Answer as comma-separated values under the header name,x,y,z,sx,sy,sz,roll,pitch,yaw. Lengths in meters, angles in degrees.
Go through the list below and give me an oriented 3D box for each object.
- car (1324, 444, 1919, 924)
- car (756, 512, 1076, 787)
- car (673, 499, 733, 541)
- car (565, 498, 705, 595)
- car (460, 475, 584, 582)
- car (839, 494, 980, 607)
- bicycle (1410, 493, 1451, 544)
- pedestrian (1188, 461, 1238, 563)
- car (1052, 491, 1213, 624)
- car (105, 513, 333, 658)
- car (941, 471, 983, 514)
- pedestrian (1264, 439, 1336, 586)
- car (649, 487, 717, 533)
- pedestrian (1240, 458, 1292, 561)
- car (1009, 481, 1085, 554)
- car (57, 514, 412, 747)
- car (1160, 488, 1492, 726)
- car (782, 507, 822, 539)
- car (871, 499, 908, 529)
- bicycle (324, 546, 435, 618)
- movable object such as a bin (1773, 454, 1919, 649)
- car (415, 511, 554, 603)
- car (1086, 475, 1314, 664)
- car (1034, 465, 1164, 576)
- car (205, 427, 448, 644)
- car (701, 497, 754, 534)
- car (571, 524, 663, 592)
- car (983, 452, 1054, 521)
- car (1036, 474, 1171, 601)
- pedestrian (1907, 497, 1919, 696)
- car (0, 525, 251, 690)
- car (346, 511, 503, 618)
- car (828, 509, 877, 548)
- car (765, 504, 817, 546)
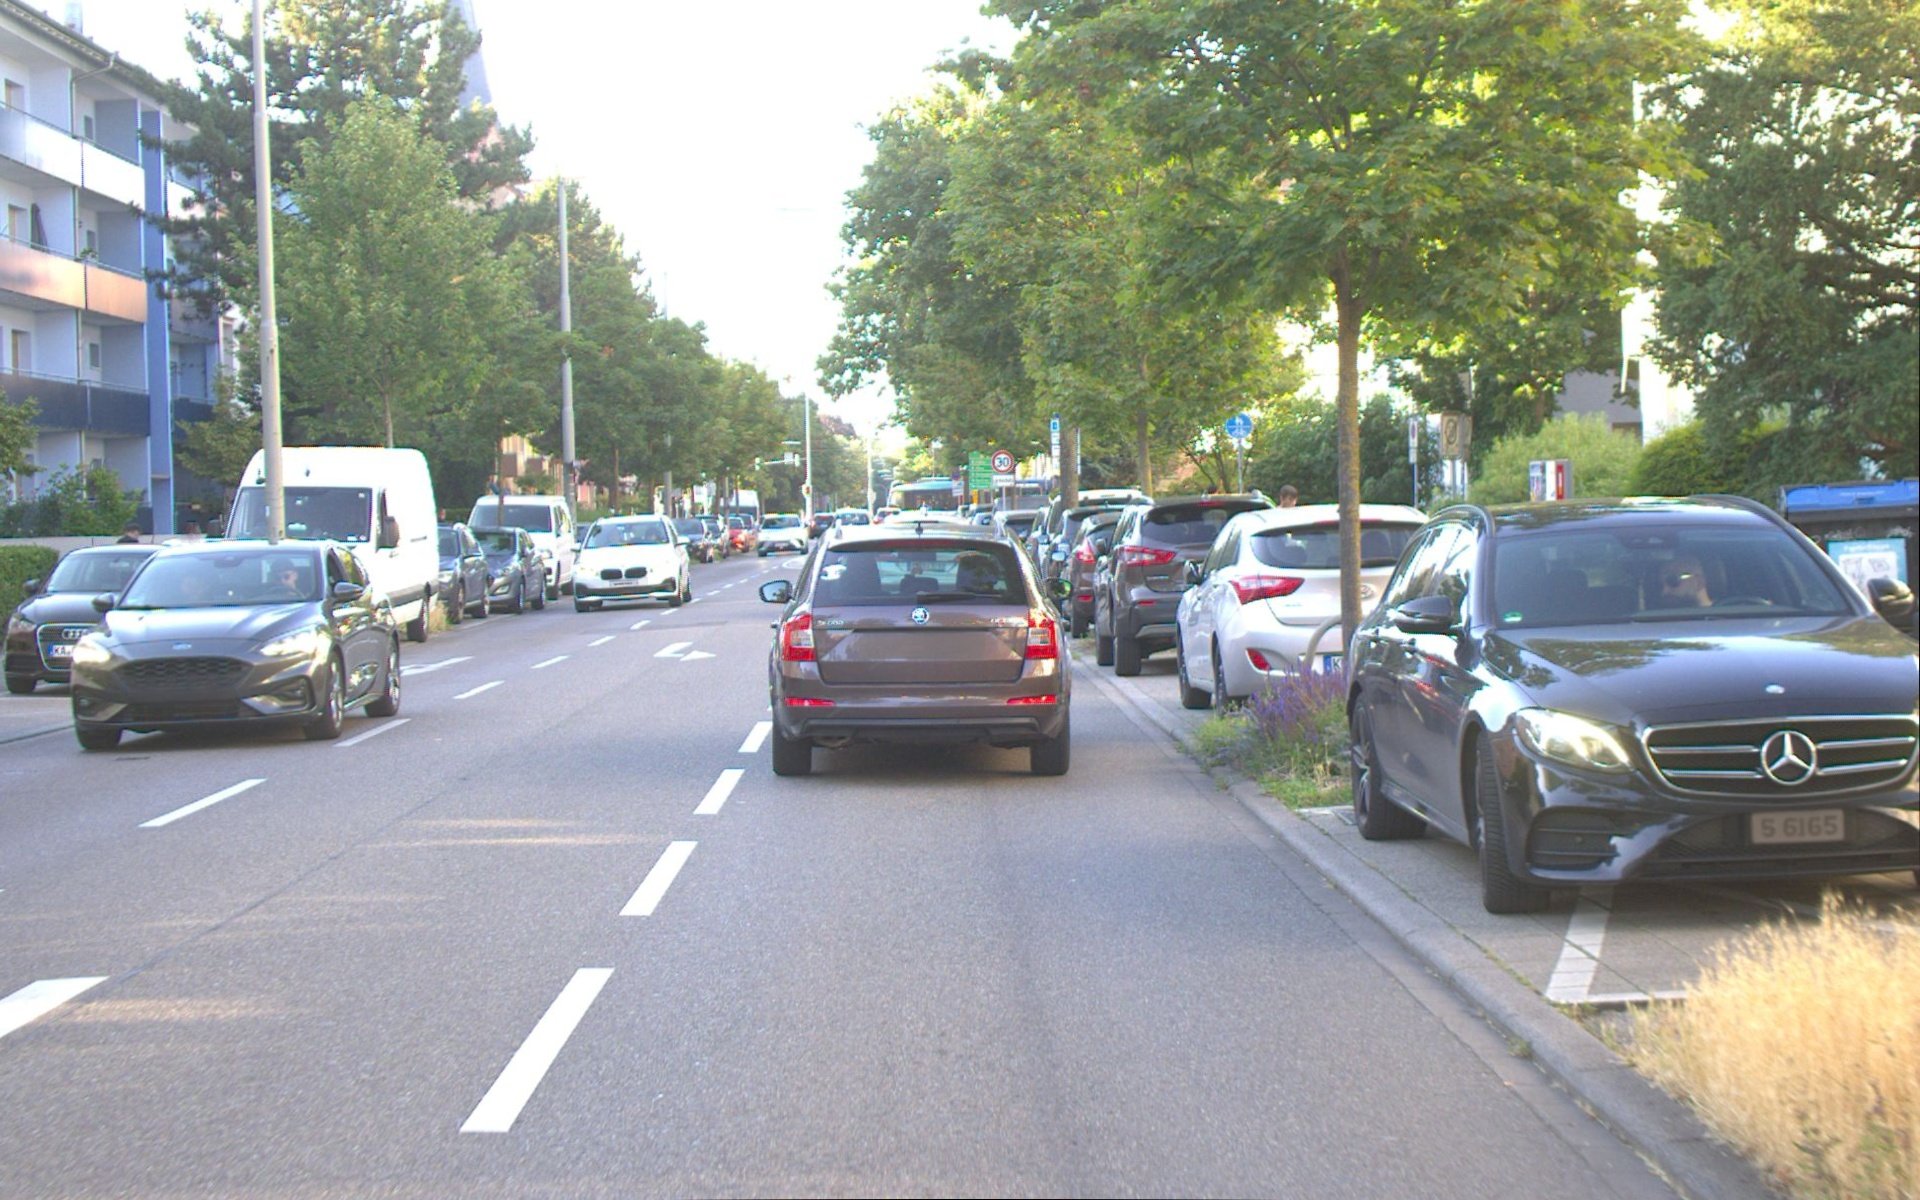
name,x,y,z,sx,sy,sz,roll,pitch,yaw
car,2.702,0.206,14.229,1.874,1.575,4.821,-3,2,1
car,-0.210,0.219,20.851,1.754,1.487,4.000,0,2,1
car,-9.263,-2.894,124.006,1.781,1.475,3.971,0,2,1
car,-5.501,-0.940,58.664,1.879,1.537,4.267,-2,2,1
car,-8.622,-1.442,68.061,1.868,2.024,5.302,-1,2,-1
car,-0.741,-0.710,49.447,1.892,1.501,3.790,2,1,-1
bicycle,8.875,-1.540,64.884,0.475,0.941,1.680,-2,2,-1
pedestrian,4.713,-1.648,64.071,0.749,1.854,1.068,-2,2,-1
car,2.052,-0.553,41.748,1.613,1.461,3.959,-3,2,-1
car,-8.259,-0.204,38.626,1.706,1.487,4.059,1,2,-1
car,0.064,-4.541,145.678,1.754,1.799,4.000,0,2,0
pedestrian,3.999,-1.030,40.464,0.788,1.694,0.807,-1,1,4
car,-8.947,-2.929,111.481,1.781,1.475,4.033,0,2,1
pedestrian,5.666,-1.677,63.597,0.799,1.854,0.950,-2,2,10
car,2.036,-1.956,81.219,1.754,1.680,4.252,0,2,1
car,-5.212,0.151,25.226,1.700,1.465,4.294,-3,2,-1
car,2.493,-0.025,24.406,1.718,1.489,4.395,-2,2,-2
car,-8.930,-4.349,193.917,1.993,1.744,4.001,-2,2,-6
car,-3.807,-4.640,185.160,1.644,1.593,3.651,-2,2,-6
bicycle,-8.257,-0.257,48.899,1.472,1.011,0.439,0,2,7
movable object such as a bin,7.349,-0.408,27.962,1.267,1.487,1.139,-4,2,9
car,-8.220,-0.768,59.700,1.692,1.478,4.143,-1,2,2
car,2.171,-0.334,32.065,1.718,1.595,4.097,-2,2,-1
car,2.317,-1.371,58.393,1.800,1.802,4.425,0,2,-3
car,-8.148,-0.892,44.912,1.993,2.607,7.106,0,2,-1
car,-9.461,-3.451,140.168,1.781,1.475,3.971,0,2,1
car,-7.786,-0.972,78.296,1.619,1.475,3.872,0,2,1
car,1.669,-3.221,97.774,1.916,1.854,5.633,-1,2,1
car,2.017,-0.924,49.215,1.754,1.657,4.252,-3,2,1
pedestrian,6.254,-0.024,21.050,0.673,1.230,0.791,-1,1,0
car,-8.111,0.030,33.674,1.612,1.468,3.813,0,2,-1
car,-8.403,-0.590,54.253,1.672,1.537,4.473,-2,2,1
car,-4.179,-2.798,133.300,1.780,1.475,3.972,0,2,-4
car,-6.327,-2.822,128.947,1.781,1.489,3.971,1,2,0
